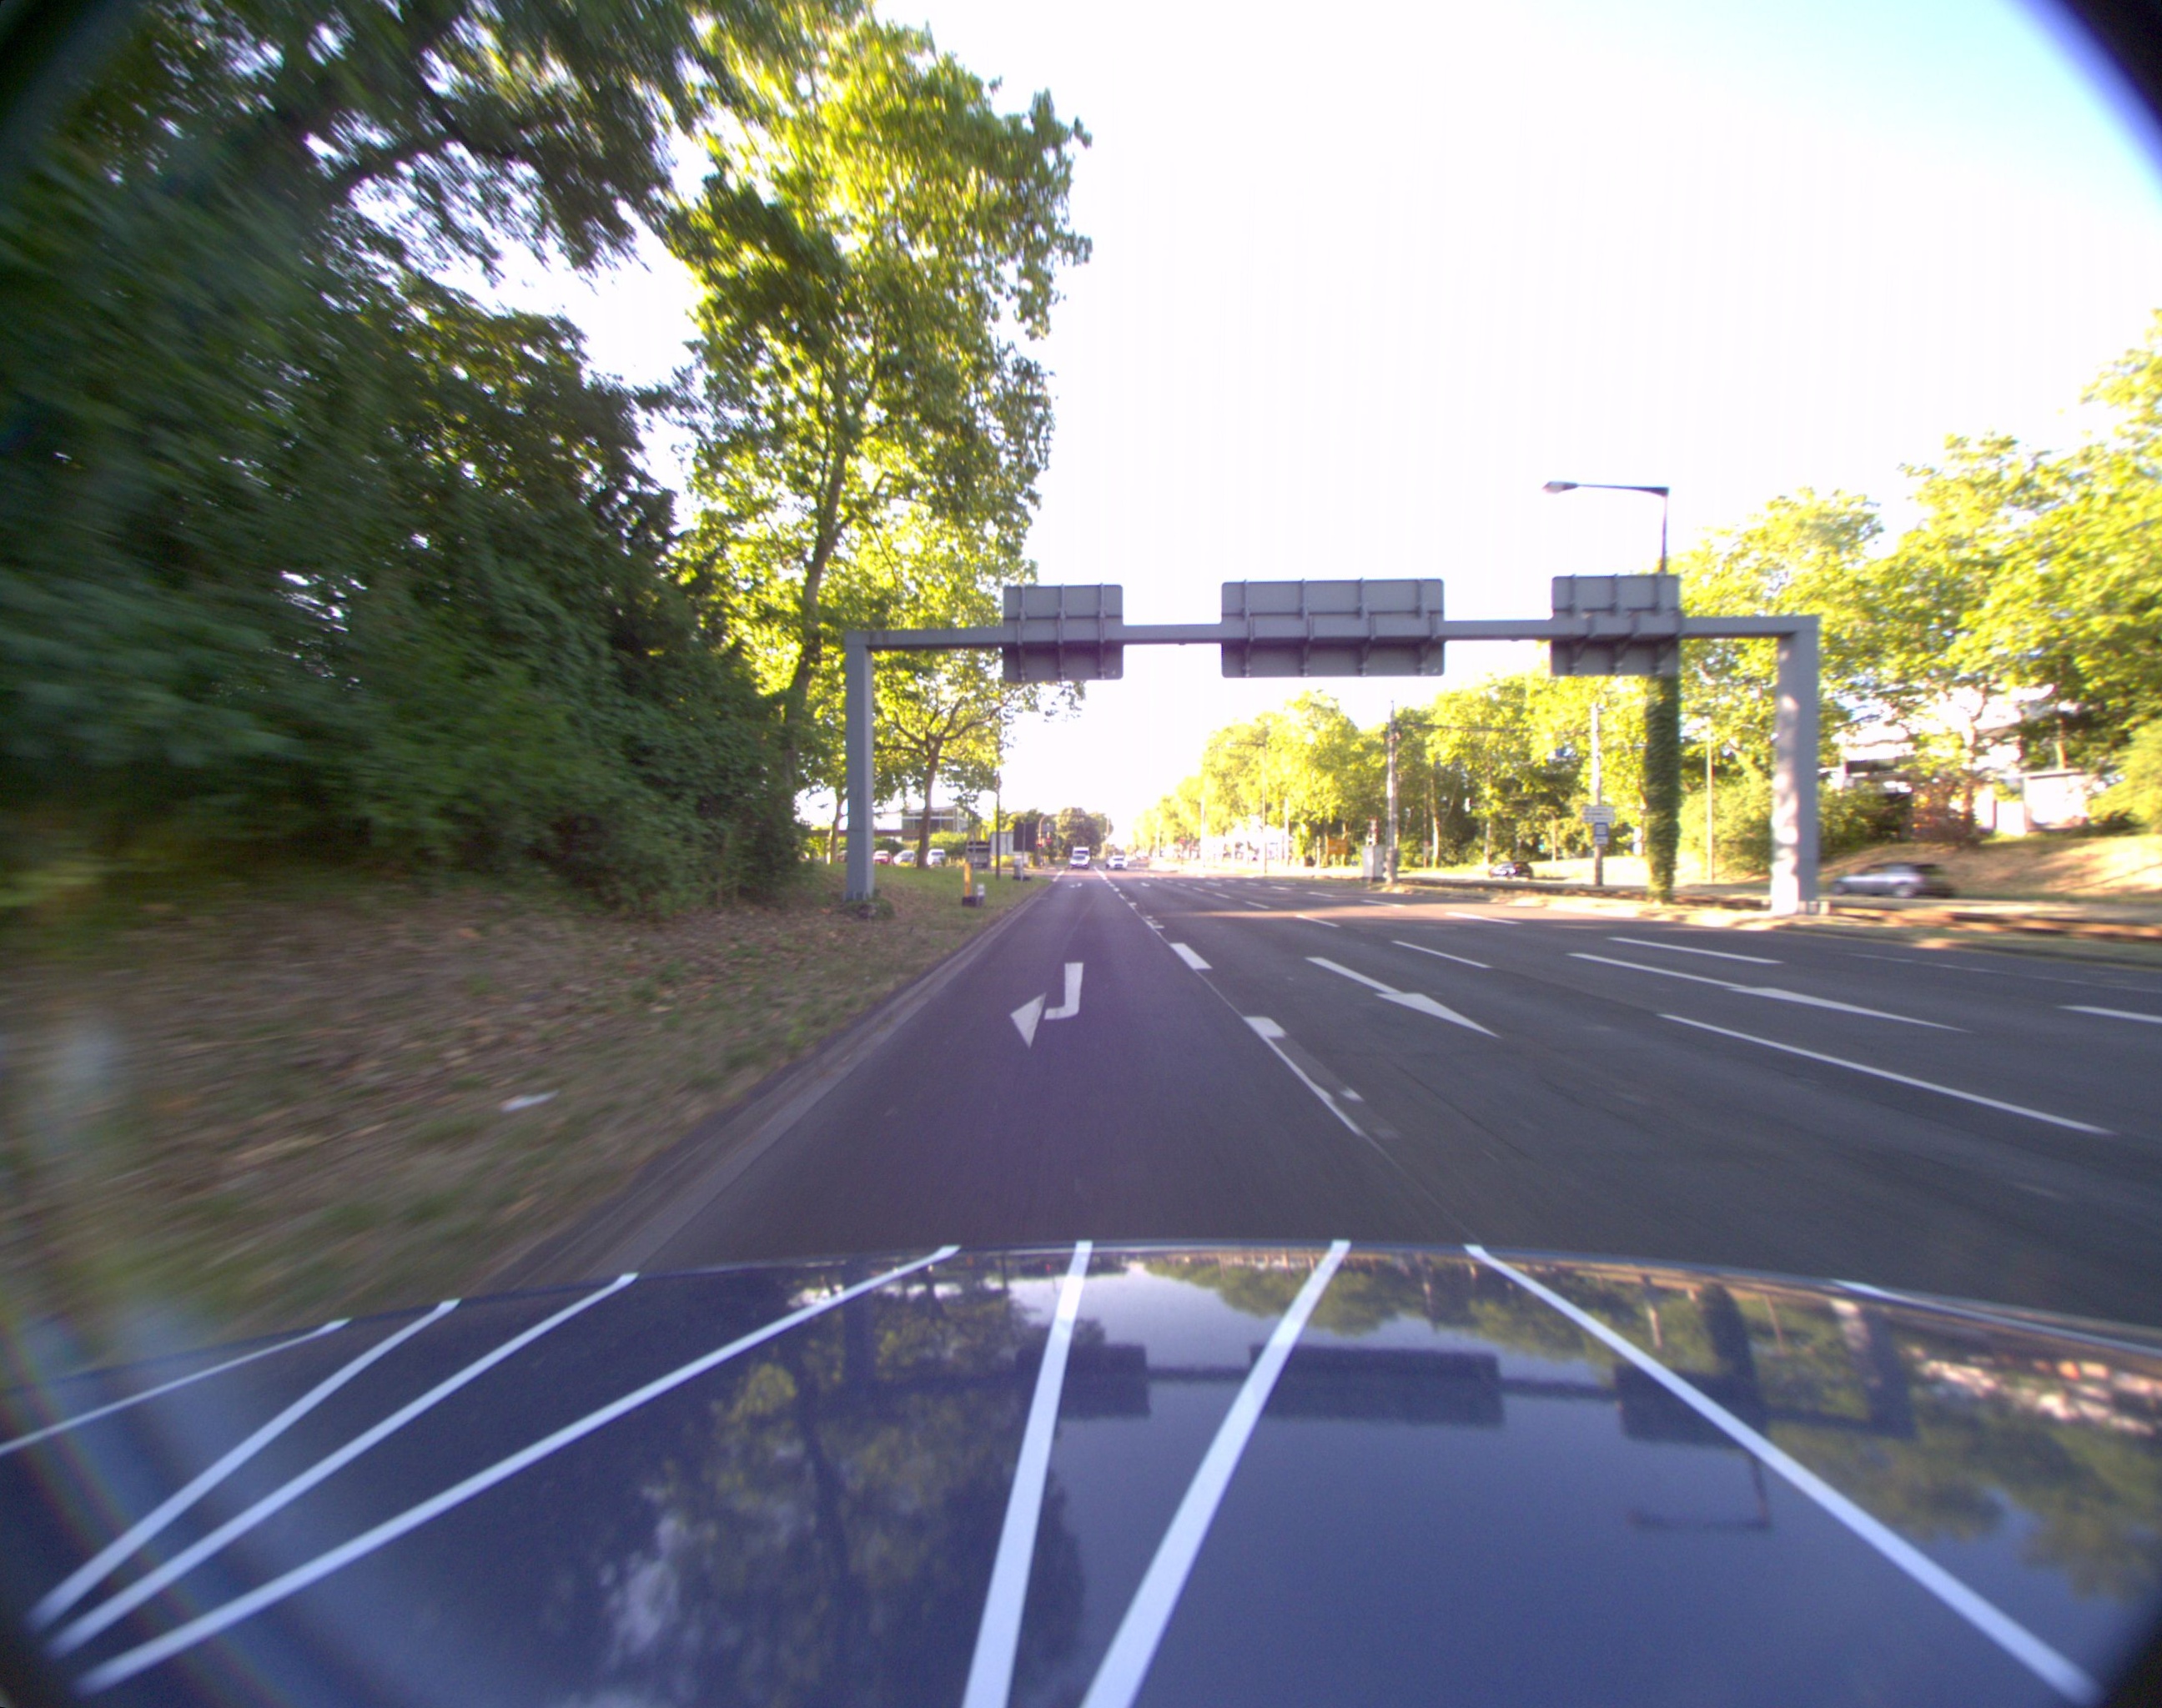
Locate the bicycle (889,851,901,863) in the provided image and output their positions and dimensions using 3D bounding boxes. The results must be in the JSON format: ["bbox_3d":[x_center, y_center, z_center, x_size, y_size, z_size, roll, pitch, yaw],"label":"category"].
[{"bbox_3d":[-17.643,0.280,72.054,0.543,1.032,1.894,1,0,2],"label":"bicycle"}]

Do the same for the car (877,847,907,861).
[{"bbox_3d":[-22.888,0.054,92.119,2.117,1.627,4.003,1,0,10],"label":"car"}]

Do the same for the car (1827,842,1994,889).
[{"bbox_3d":[32.584,0.429,30.068,1.998,1.671,4.191,1,0,0],"label":"car"}]

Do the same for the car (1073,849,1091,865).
[{"bbox_3d":[0.080,0.310,83.107,1.875,1.608,4.547,1,0,0],"label":"car"}]

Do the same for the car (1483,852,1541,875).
[{"bbox_3d":[32.032,0.674,56.601,1.998,1.671,4.191,1,0,2],"label":"car"}]

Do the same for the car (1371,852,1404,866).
[{"bbox_3d":[33.535,0.561,83.283,1.998,1.432,4.191,1,0,0],"label":"car"}]

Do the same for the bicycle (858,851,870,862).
[{"bbox_3d":[-20.657,0.265,72.250,0.543,1.032,1.894,1,0,2],"label":"bicycle"}]

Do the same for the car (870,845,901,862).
[{"bbox_3d":[-20.320,-0.014,79.025,2.119,1.639,4.320,1,0,-1],"label":"car"}]

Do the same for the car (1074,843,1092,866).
[{"bbox_3d":[0.246,0.055,91.434,2.008,2.551,5.876,1,0,1],"label":"car"}]

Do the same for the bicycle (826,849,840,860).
[{"bbox_3d":[-23.611,0.020,72.290,0.543,1.032,1.894,1,0,5],"label":"bicycle"}]

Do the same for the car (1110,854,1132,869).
[{"bbox_3d":[4.460,0.842,83.473,1.873,1.608,4.003,1,0,10],"label":"car"}]

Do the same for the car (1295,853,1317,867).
[{"bbox_3d":[32.652,0.855,110.457,1.998,2.054,4.191,1,0,2],"label":"car"}]

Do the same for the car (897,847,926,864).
[{"bbox_3d":[-17.389,0.143,78.092,2.119,1.639,4.000,1,0,-1],"label":"car"}]

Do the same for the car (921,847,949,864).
[{"bbox_3d":[-15.078,0.179,78.624,2.119,1.639,4.227,1,0,-1],"label":"car"}]

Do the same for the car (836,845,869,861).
[{"bbox_3d":[-23.597,-0.092,78.552,2.119,1.639,4.320,1,0,-1],"label":"car"}]

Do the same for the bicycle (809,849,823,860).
[{"bbox_3d":[-25.232,0.076,72.354,0.543,1.032,1.894,1,0,5],"label":"bicycle"}]
